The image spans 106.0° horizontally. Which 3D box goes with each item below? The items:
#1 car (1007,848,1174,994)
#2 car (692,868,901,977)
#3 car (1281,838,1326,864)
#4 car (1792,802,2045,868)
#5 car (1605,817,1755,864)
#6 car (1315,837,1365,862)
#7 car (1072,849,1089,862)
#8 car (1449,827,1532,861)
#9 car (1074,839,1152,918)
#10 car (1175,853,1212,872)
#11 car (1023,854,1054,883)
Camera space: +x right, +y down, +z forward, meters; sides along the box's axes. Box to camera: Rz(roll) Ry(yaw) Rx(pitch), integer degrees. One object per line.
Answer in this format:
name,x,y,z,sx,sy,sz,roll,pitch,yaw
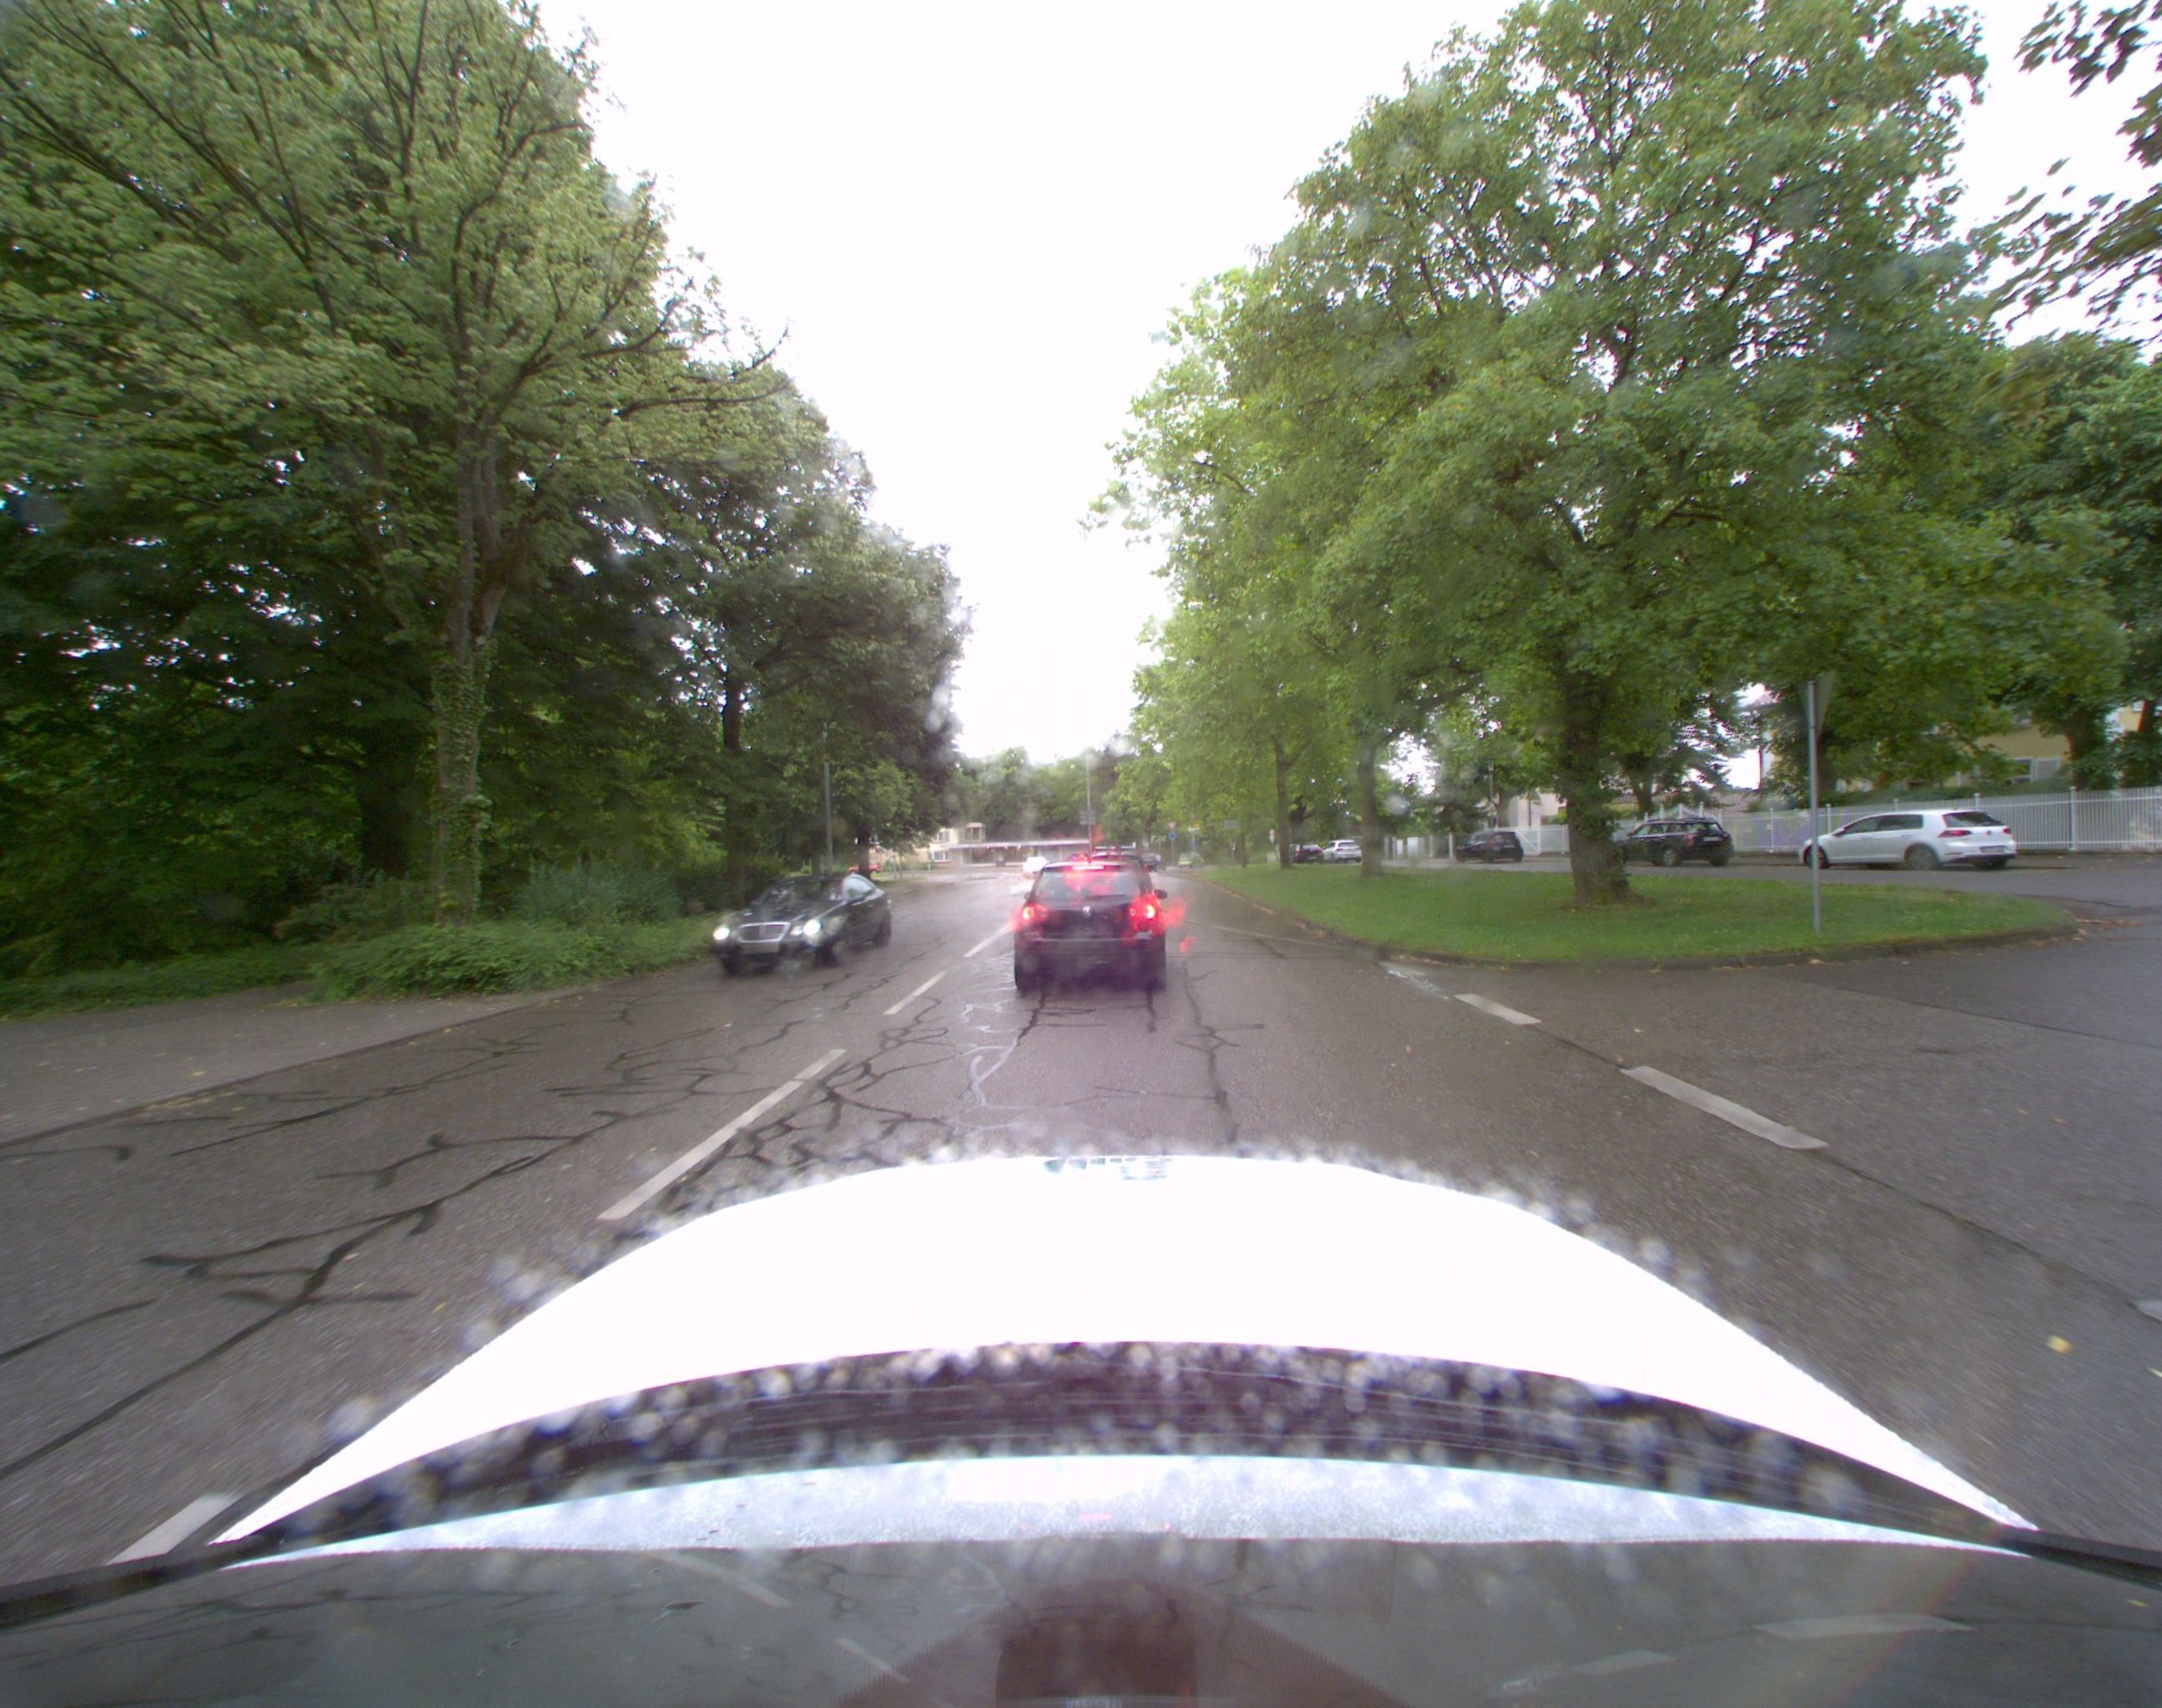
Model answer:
car,0.163,0.731,10.639,1.758,1.538,4.001,0,-1,2
car,-4.367,0.978,13.321,1.759,1.349,4.377,-3,-1,1
car,14.398,-0.183,52.943,1.758,1.471,4.599,-4,-1,2
car,20.392,-0.406,20.139,1.988,1.449,4.122,0,-1,-1
car,20.027,-0.407,27.475,1.988,1.471,4.122,0,-1,-1
car,16.855,-0.279,53.128,1.839,1.471,4.426,-3,-1,1
car,-0.039,0.233,101.940,1.809,1.486,3.826,-3,0,-4
car,19.917,-0.442,39.830,1.755,1.471,4.354,-3,0,-1
car,0.832,0.605,21.527,1.758,1.801,4.248,-3,-1,2
car,10.793,0.815,78.161,1.796,1.750,4.025,-1,-1,37
car,-3.118,1.010,58.744,1.991,2.014,4.563,0,-1,-6
